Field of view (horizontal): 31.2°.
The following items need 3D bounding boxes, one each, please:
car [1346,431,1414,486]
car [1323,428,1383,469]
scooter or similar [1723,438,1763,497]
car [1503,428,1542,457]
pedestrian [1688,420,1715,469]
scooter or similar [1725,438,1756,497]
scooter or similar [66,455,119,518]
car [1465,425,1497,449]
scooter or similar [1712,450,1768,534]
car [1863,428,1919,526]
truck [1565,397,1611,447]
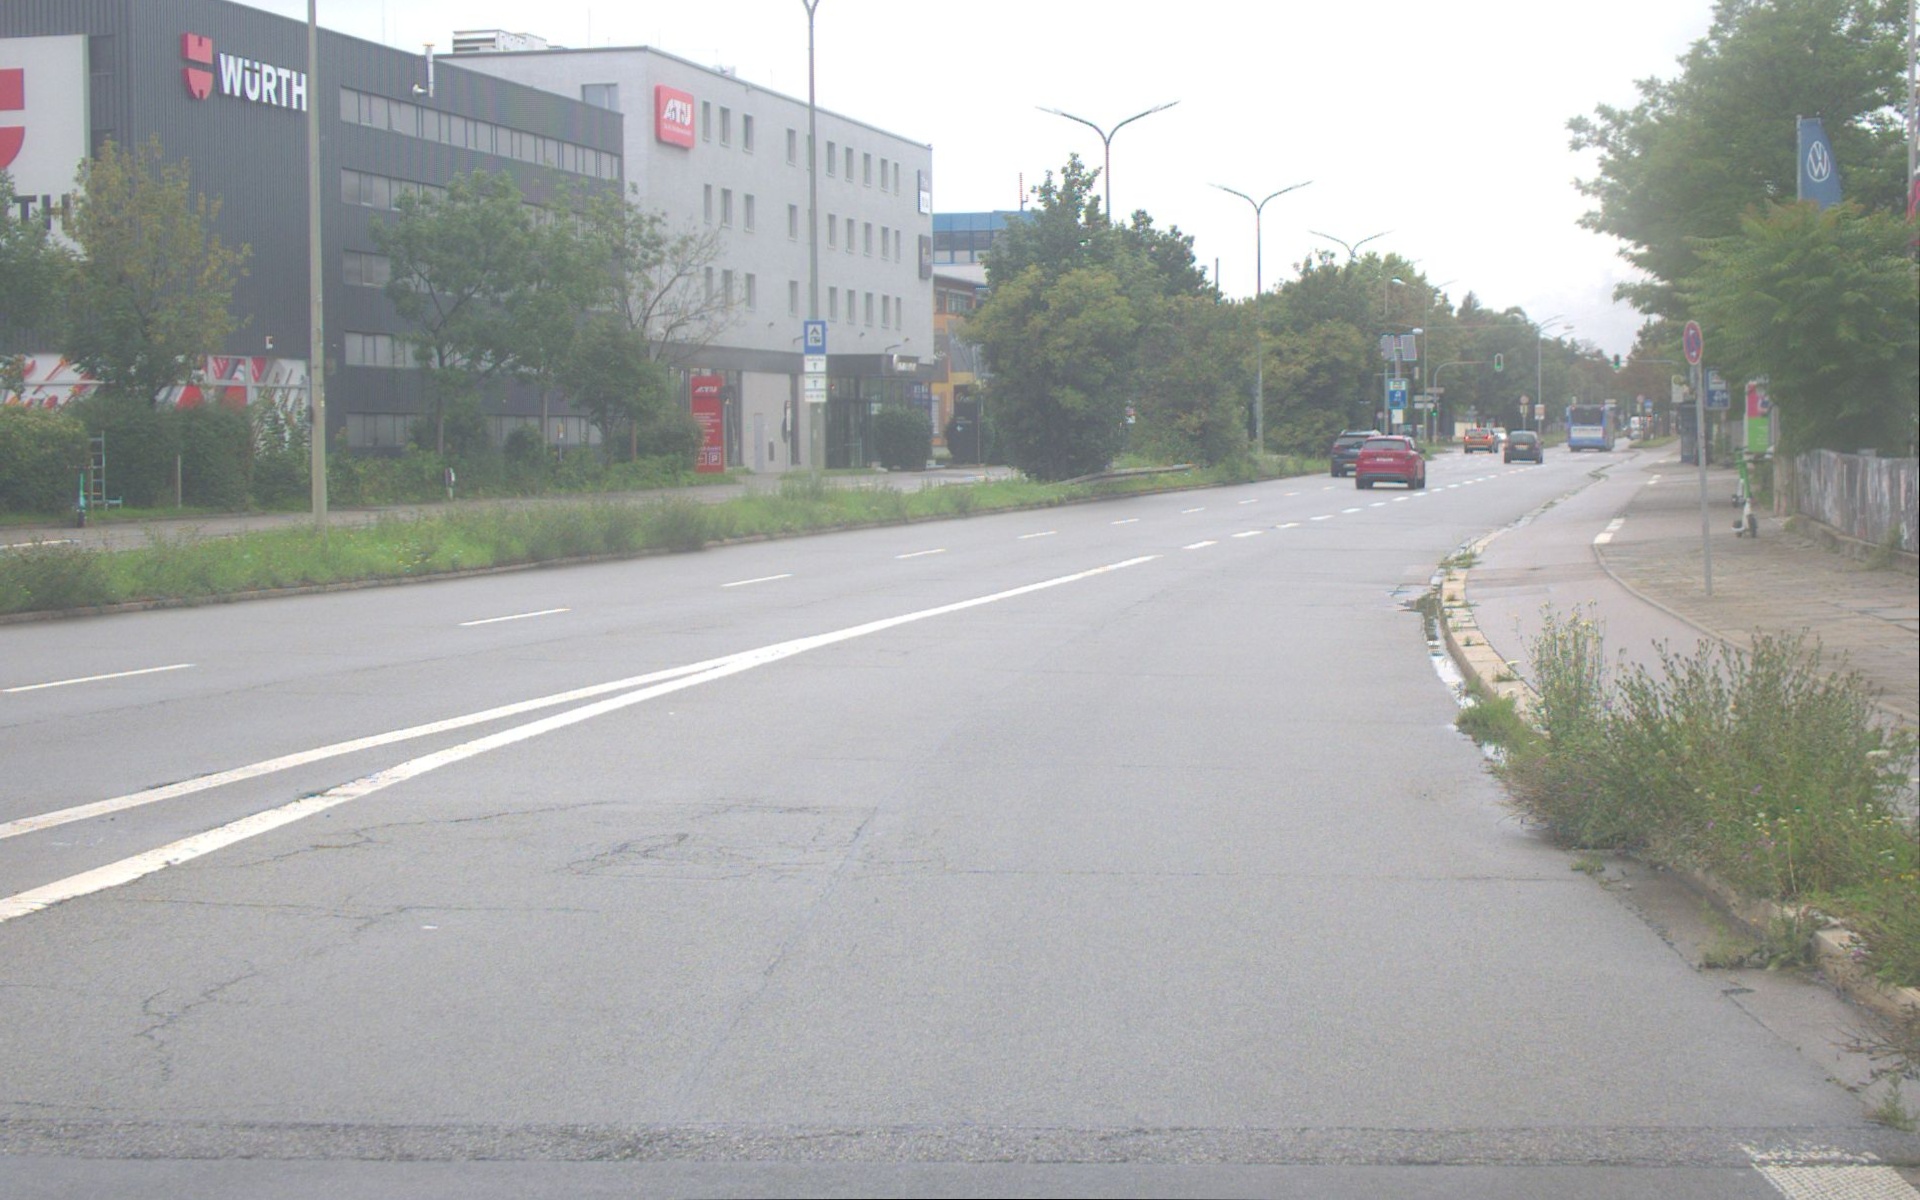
[{"bbox_3d":[12.598,-4.254,102.979,1.863,1.612,3.999,1,3,9],"label":"car"},{"bbox_3d":[14.033,-5.415,122.706,1.804,1.427,3.999,0,3,11],"label":"car"},{"bbox_3d":[16.400,-2.768,72.025,0.496,1.200,1.430,-3,2,3],"label":"scooter or similar"},{"bbox_3d":[27.595,-7.729,168.617,1.804,1.427,3.999,0,3,11],"label":"car"},{"bbox_3d":[26.696,-5.597,123.743,0.758,1.722,0.895,-4,2,8],"label":"pedestrian"},{"bbox_3d":[16.851,-2.866,74.240,0.496,1.200,1.429,-3,3,10],"label":"scooter or similar"},{"bbox_3d":[-17.326,-2.273,68.683,0.445,1.223,1.387,0,3,11],"label":"scooter or similar"},{"bbox_3d":[32.772,-10.247,216.132,1.804,1.427,3.999,0,3,11],"label":"car"},{"bbox_3d":[11.677,-1.618,51.501,0.397,1.218,1.640,-3,2,-1],"label":"scooter or similar"},{"bbox_3d":[15.791,-1.894,52.054,4.016,1.455,1.792,0,3,13],"label":"car"},{"bbox_3d":[42.237,-11.966,231.178,2.970,3.274,7.913,0,3,11],"label":"truck"}]
